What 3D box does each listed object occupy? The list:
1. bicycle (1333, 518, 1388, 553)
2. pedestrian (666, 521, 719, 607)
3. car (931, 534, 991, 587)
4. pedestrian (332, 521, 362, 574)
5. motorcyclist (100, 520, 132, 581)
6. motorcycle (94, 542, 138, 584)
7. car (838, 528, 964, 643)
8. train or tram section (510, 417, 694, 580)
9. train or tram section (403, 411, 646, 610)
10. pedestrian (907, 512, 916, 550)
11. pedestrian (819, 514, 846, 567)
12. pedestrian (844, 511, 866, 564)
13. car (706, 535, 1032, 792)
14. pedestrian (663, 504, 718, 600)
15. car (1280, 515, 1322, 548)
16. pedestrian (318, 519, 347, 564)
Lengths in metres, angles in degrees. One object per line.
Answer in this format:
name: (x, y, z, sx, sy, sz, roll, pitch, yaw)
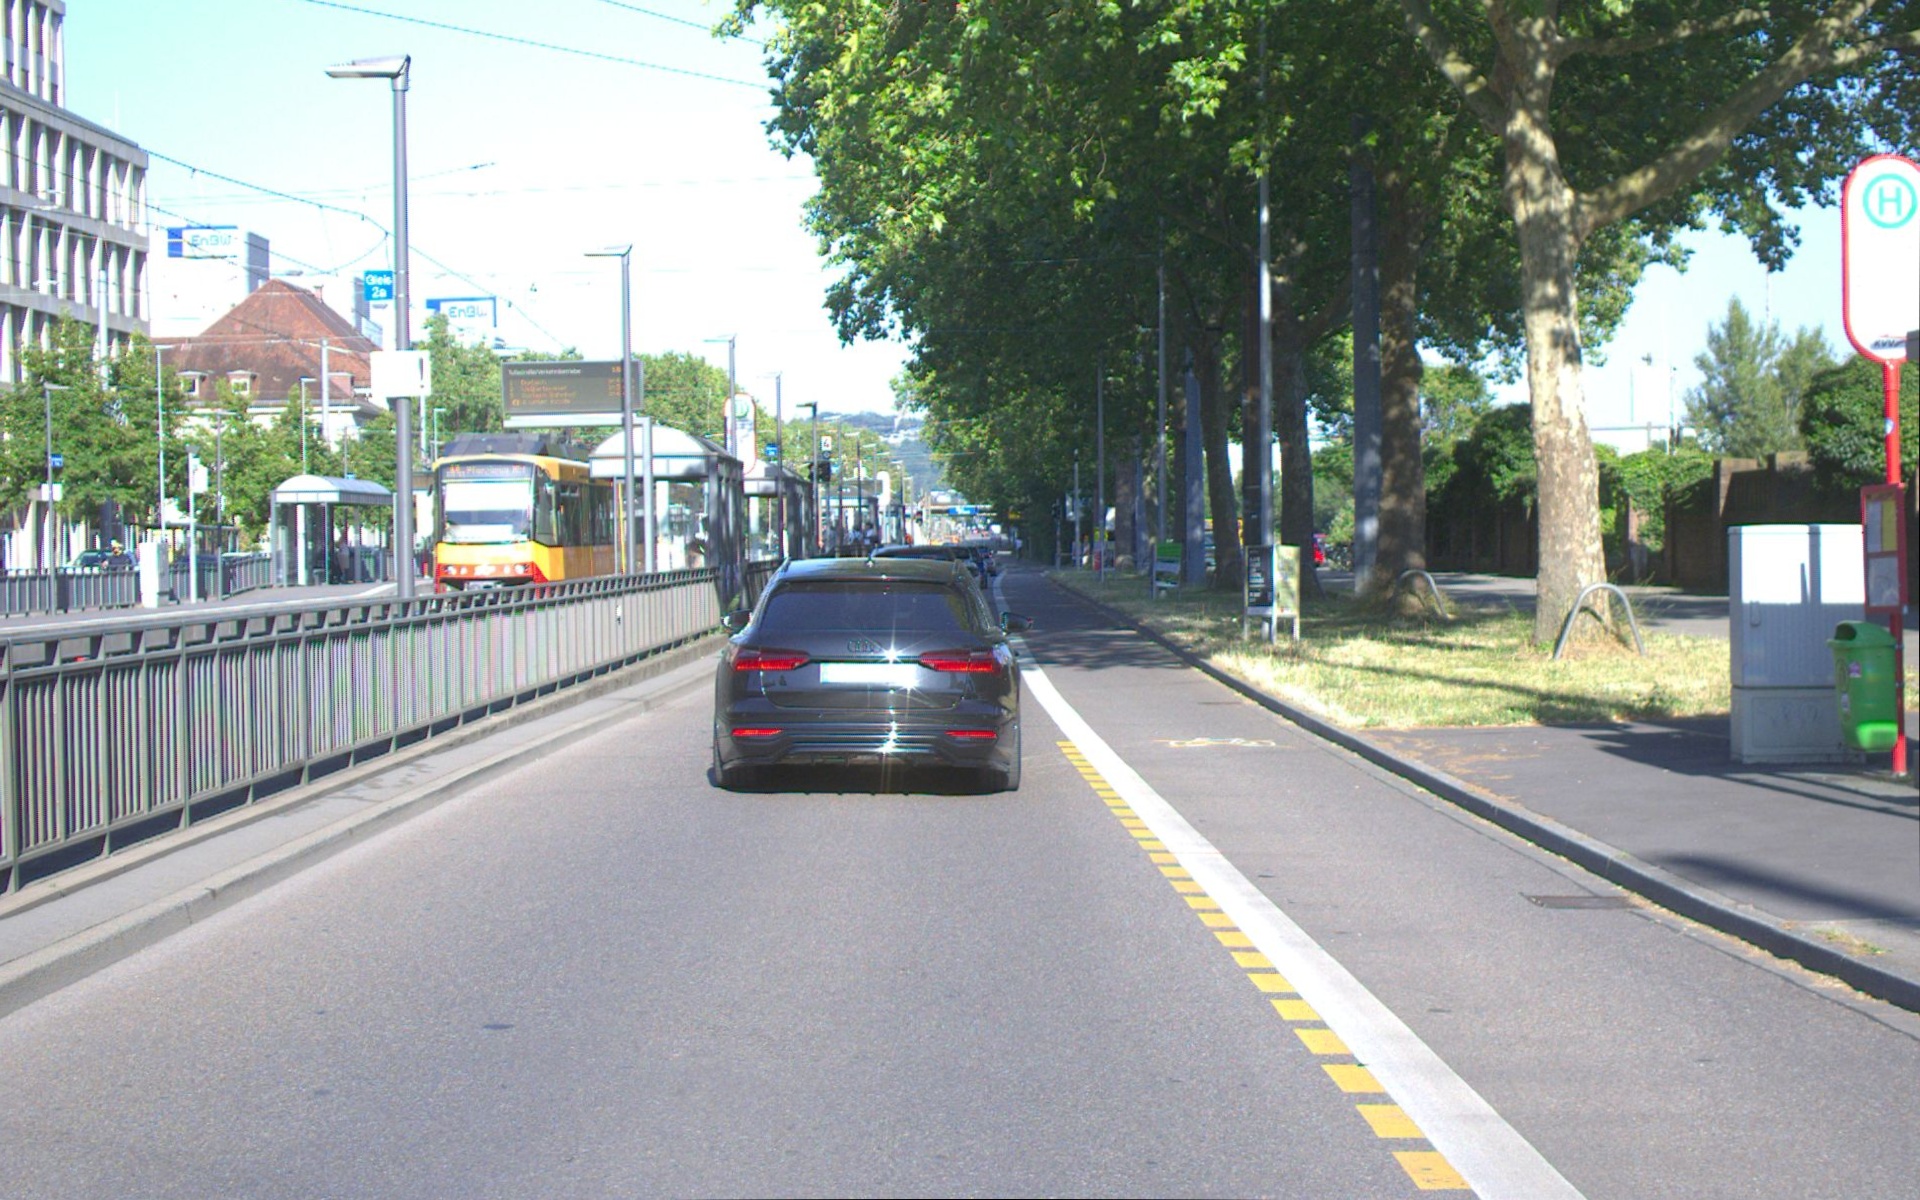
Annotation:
bicycle: (13.532, -2.174, 116.047, 1.773, 1.116, 0.439, -2, 1, 0)
pedestrian: (-3.995, -0.546, 51.358, 0.742, 1.269, 0.525, -1, 1, 0)
car: (0.026, -1.270, 108.887, 1.762, 1.613, 4.001, -1, 1, -2)
pedestrian: (-17.597, -1.510, 98.652, 0.614, 1.522, 0.724, 0, 1, 9)
motorcyclist: (-21.344, -1.245, 86.951, 0.575, 1.528, 0.765, -1, 1, 1)
motorcycle: (-21.346, -0.947, 87.008, 0.604, 1.018, 1.841, -1, 1, 1)
car: (-0.890, -0.248, 50.730, 1.762, 1.613, 4.001, -1, 1, -2)
train or tram section: (-8.899, -2.518, 86.906, 3.309, 3.816, 11.844, -1, 1, 0)
train or tram section: (-9.096, -1.882, 73.773, 3.309, 3.816, 14.220, -1, 1, 0)
pedestrian: (-2.204, -3.129, 156.607, 0.412, 1.711, 0.666, -1, 1, 1)
pedestrian: (-3.750, -1.742, 101.162, 0.614, 1.543, 0.724, 0, 1, 11)
pedestrian: (-3.265, -1.948, 107.206, 0.611, 1.663, 0.613, -1, 1, 3)
car: (-0.580, 0.336, 21.740, 1.878, 1.452, 3.357, -1, 1, -2)
pedestrian: (-4.296, -0.768, 54.835, 0.746, 1.503, 0.666, -1, 1, 3)
car: (15.760, -3.183, 159.172, 1.614, 1.510, 3.803, -1, 1, 1)
pedestrian: (-17.551, -1.644, 96.200, 0.614, 1.255, 0.724, -1, 1, 5)
